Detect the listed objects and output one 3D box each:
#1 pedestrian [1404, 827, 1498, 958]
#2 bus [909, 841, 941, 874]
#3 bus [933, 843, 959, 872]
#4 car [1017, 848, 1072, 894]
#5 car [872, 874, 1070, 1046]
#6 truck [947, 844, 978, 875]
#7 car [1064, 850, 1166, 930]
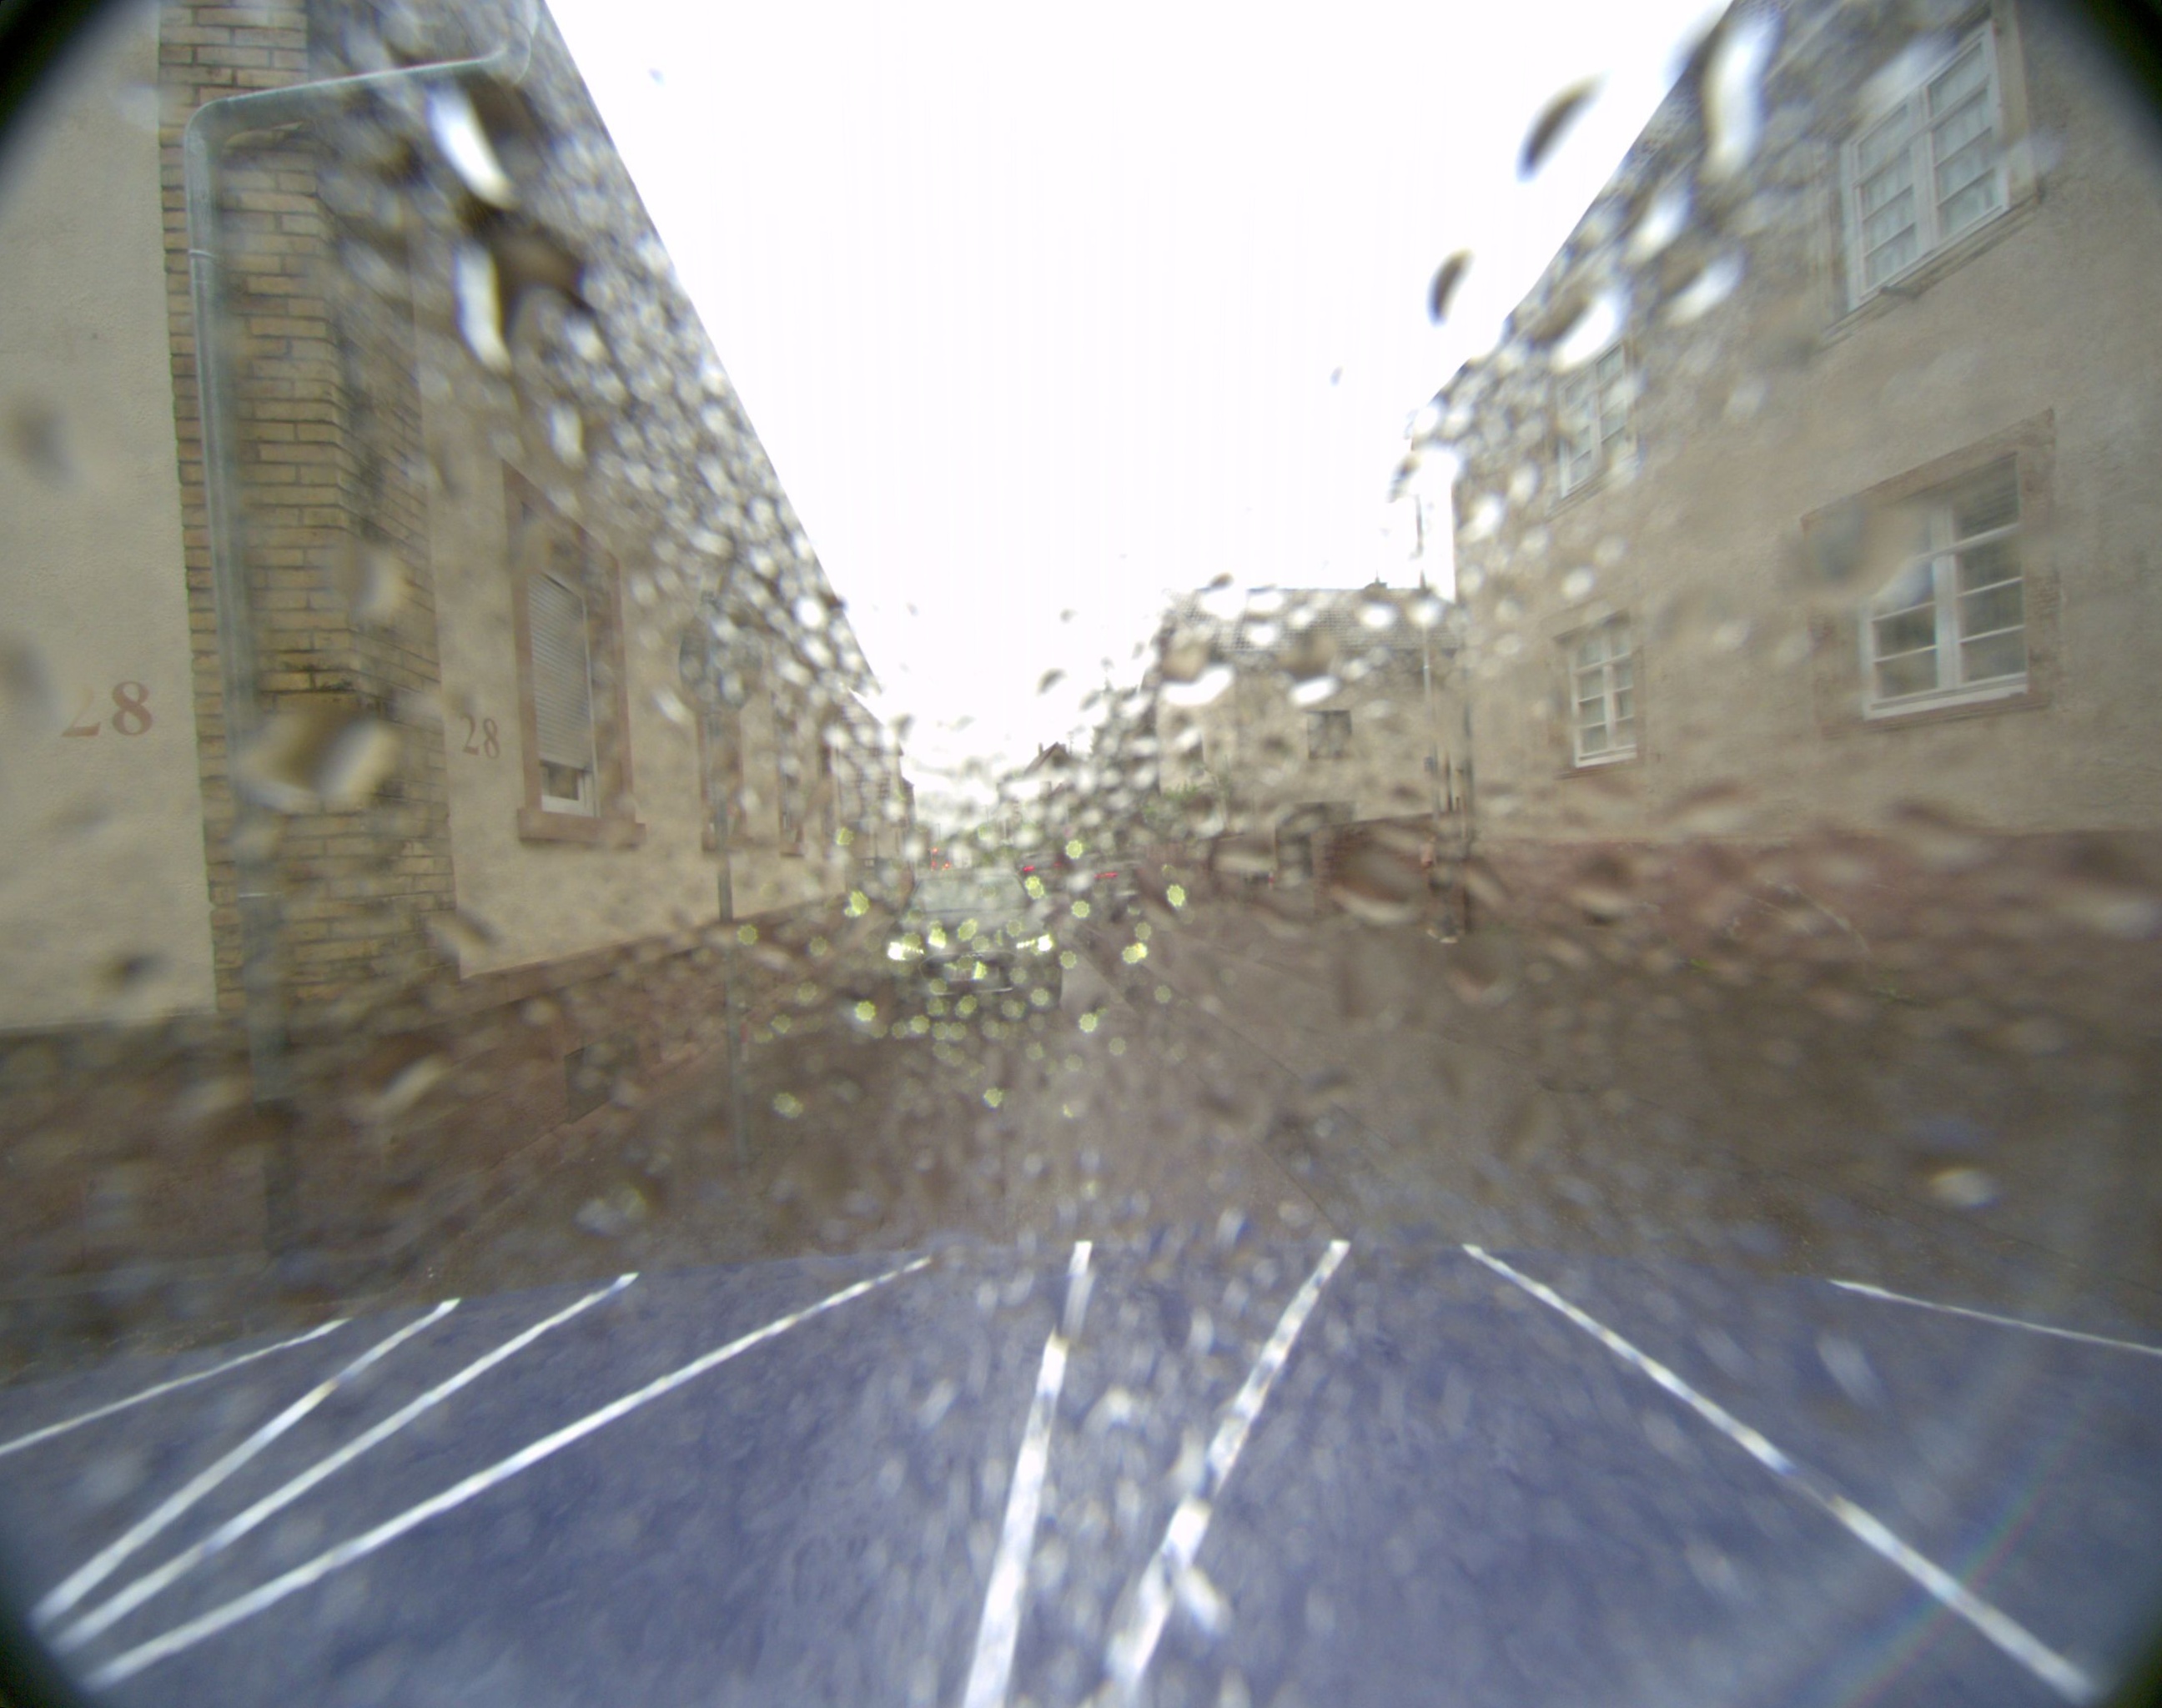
[{"bbox_3d":[4.665,0.467,9.625,0.574,1.529,0.832,-6,1,-12],"label":"pedestrian"},{"bbox_3d":[-17.322,0.336,83.713,2.671,3.213,12.175,-3,1,-15],"label":"bus"},{"bbox_3d":[-16.976,0.378,94.979,2.670,3.213,12.178,-2,1,-12],"label":"bus"},{"bbox_3d":[-1.641,0.644,32.423,1.786,1.655,4.422,-5,2,-8],"label":"car"},{"bbox_3d":[-1.311,1.009,8.989,1.740,1.363,4.098,-2,0,-9],"label":"car"},{"bbox_3d":[-10.149,0.443,64.895,2.001,2.490,5.643,-3,1,-14],"label":"truck"},{"bbox_3d":[0.682,0.756,18.029,1.627,1.502,3.790,-6,1,-8],"label":"car"}]
